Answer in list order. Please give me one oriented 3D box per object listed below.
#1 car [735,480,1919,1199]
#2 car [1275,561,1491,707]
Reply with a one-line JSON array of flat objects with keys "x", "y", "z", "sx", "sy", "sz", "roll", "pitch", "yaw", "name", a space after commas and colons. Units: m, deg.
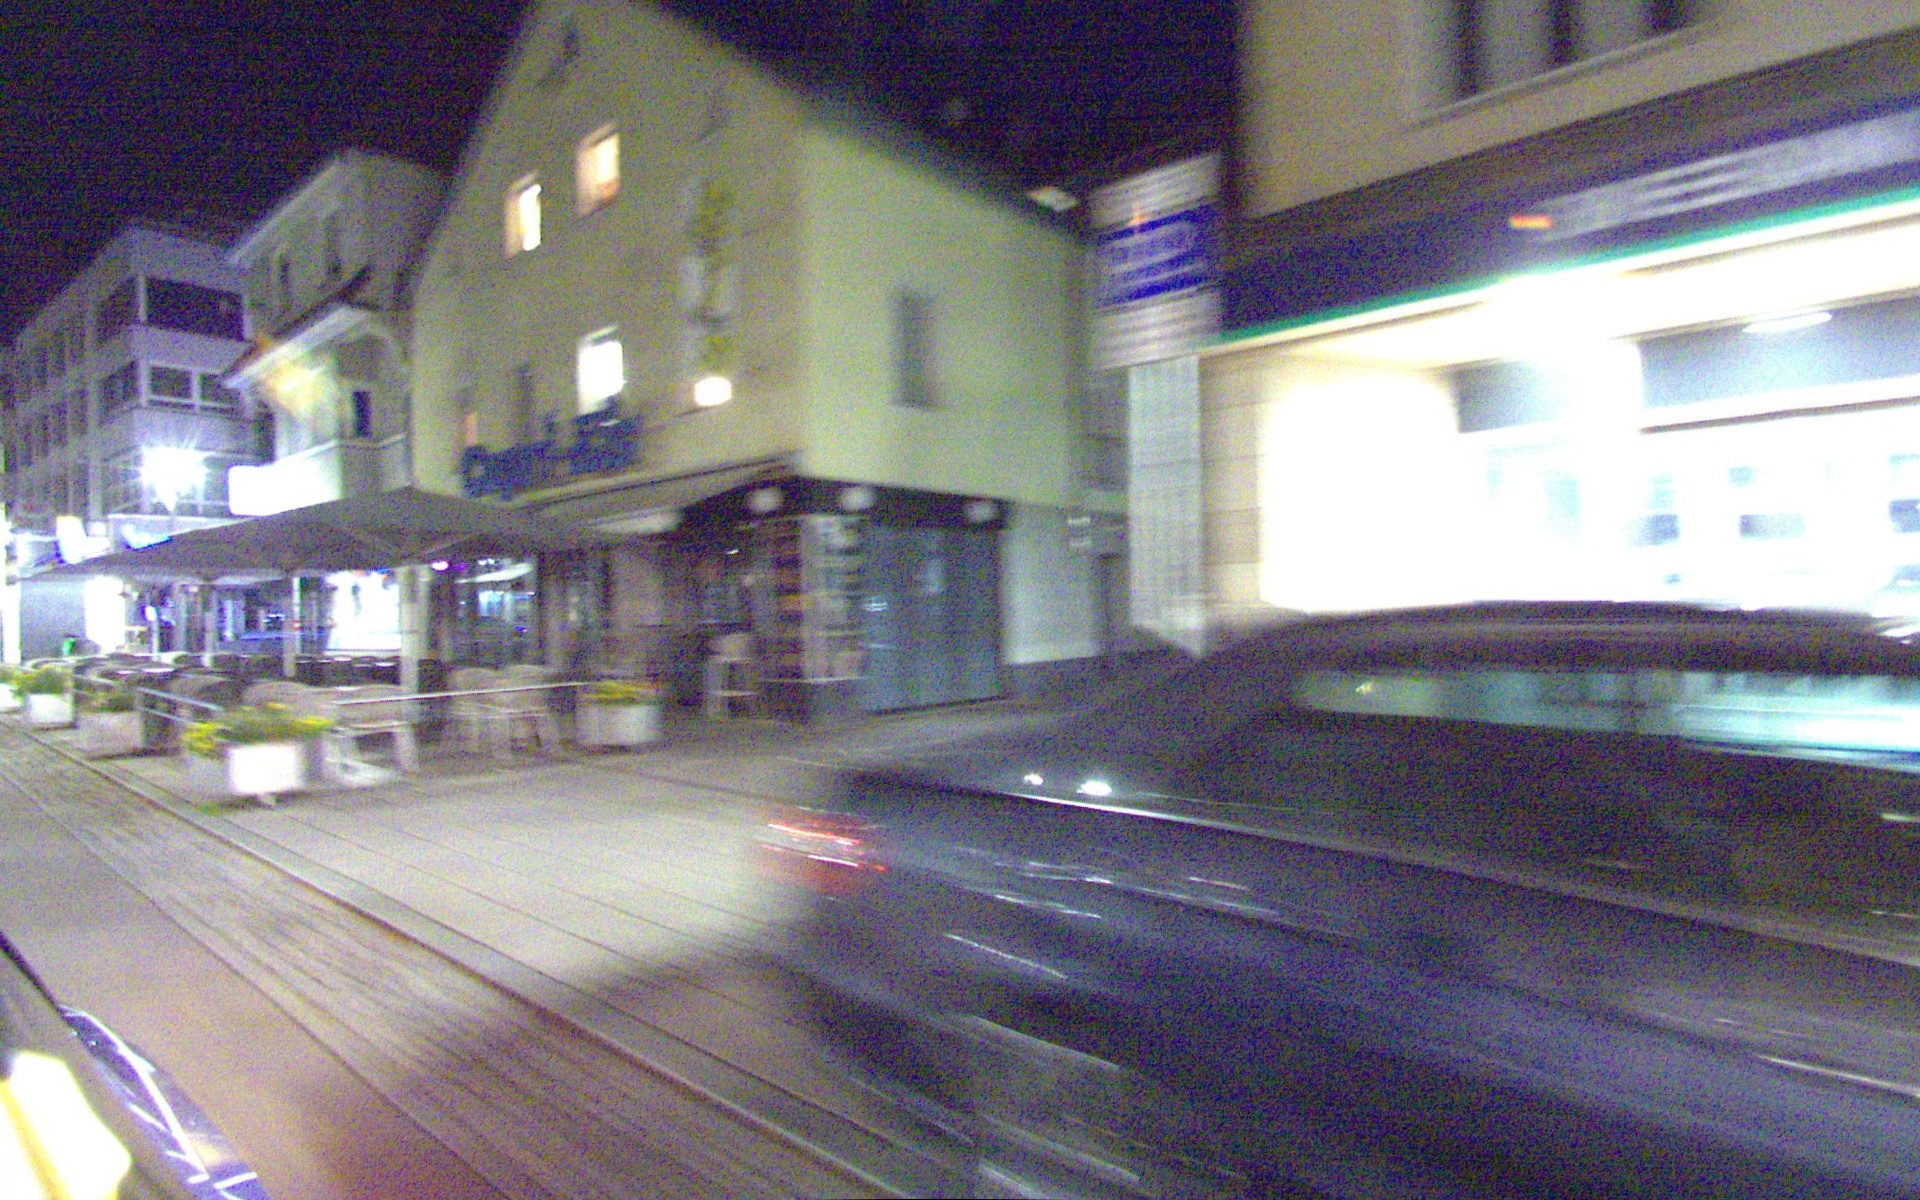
[{"x": 1.810, "y": 0.592, "z": 1.803, "sx": 4.519, "sy": 1.481, "sz": 1.882, "roll": -2, "pitch": -1, "yaw": 38, "name": "car"}, {"x": 6.067, "y": 0.434, "z": 14.348, "sx": 1.770, "sy": 1.794, "sz": 3.390, "roll": -5, "pitch": -2, "yaw": 41, "name": "car"}]
